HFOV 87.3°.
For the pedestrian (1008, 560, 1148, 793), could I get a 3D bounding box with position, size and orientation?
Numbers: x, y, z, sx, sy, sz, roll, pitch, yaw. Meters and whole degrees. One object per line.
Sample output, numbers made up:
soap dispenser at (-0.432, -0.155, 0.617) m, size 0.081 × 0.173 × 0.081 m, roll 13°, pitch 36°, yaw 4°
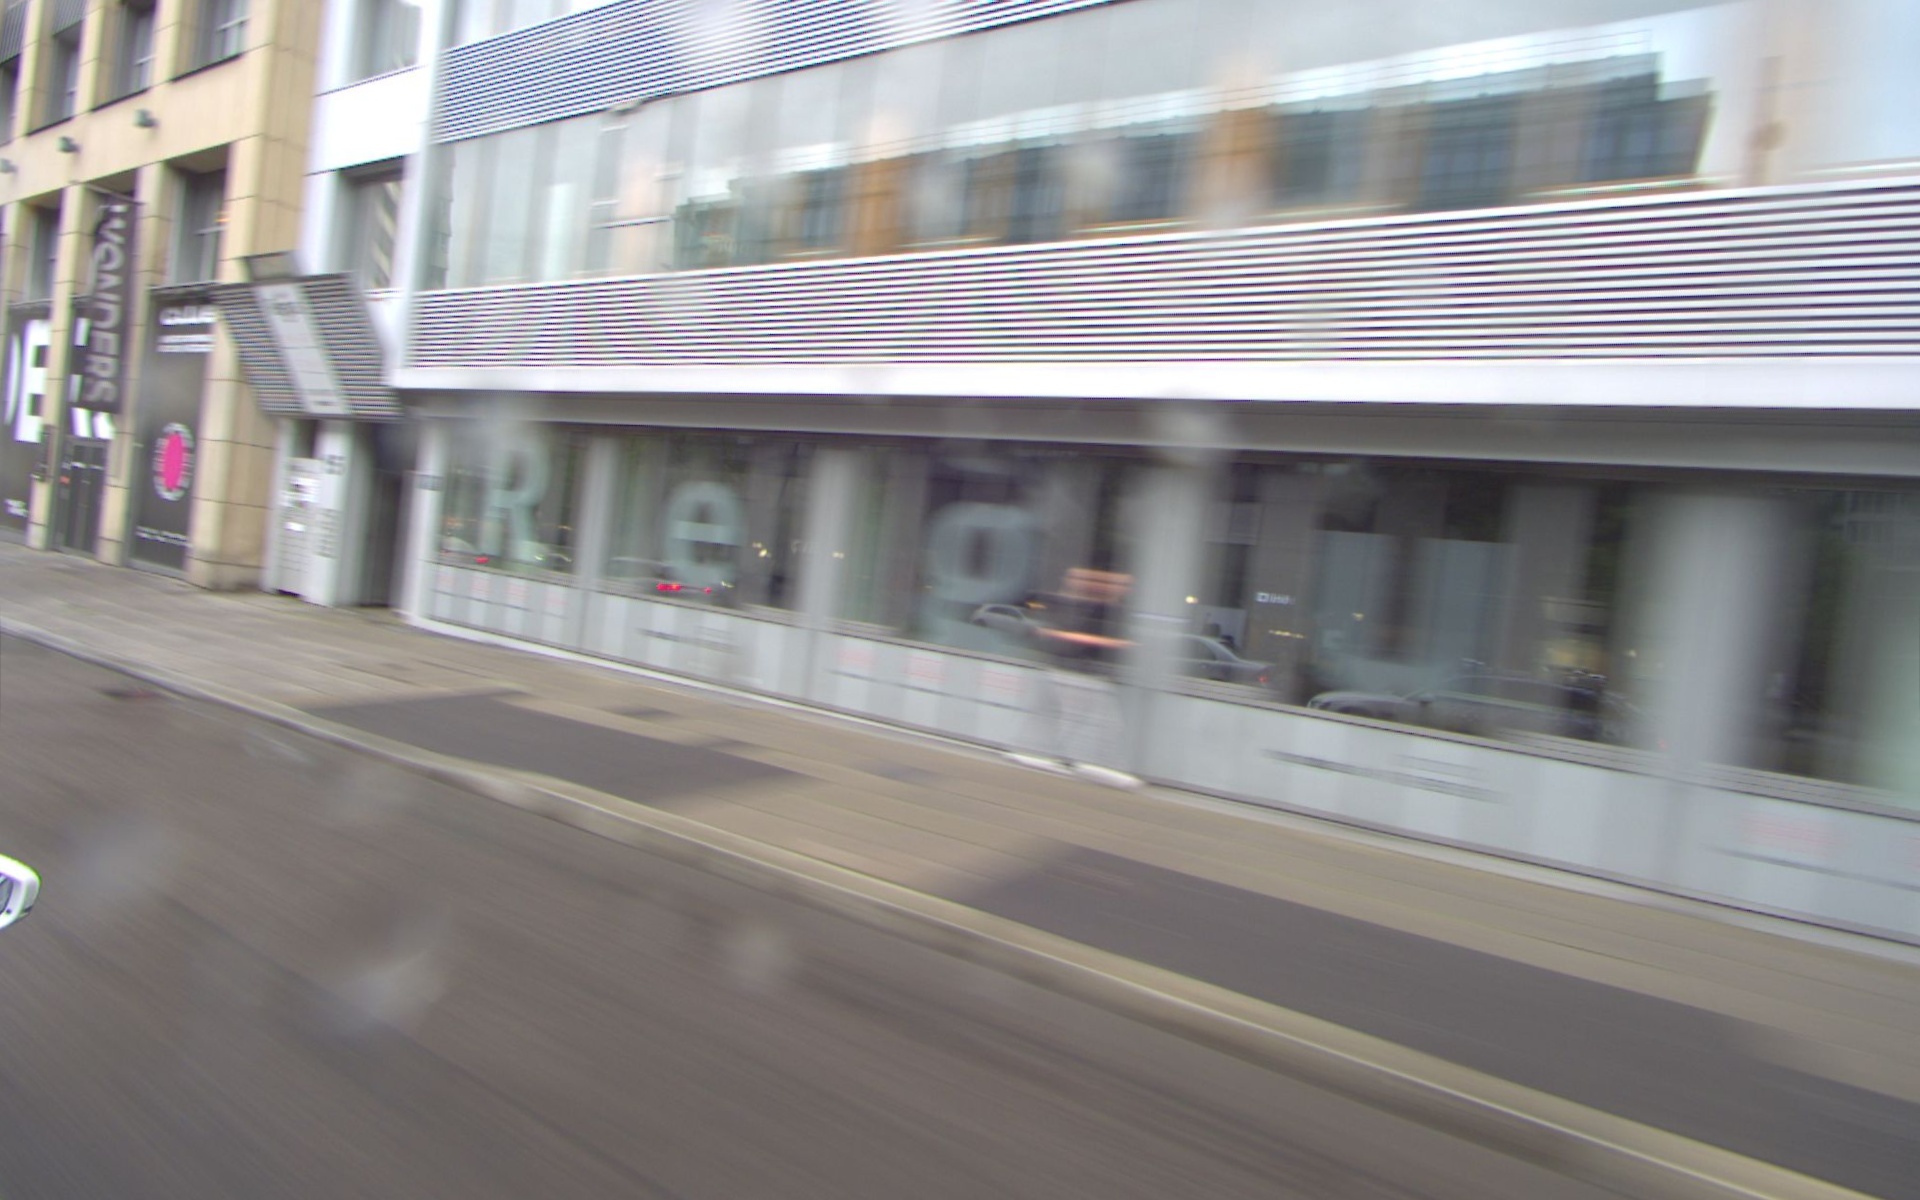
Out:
pedestrian at (0.990, 0.616, 8.418) m, size 0.777 × 1.794 × 0.636 m, roll 7°, pitch 1°, yaw 32°
